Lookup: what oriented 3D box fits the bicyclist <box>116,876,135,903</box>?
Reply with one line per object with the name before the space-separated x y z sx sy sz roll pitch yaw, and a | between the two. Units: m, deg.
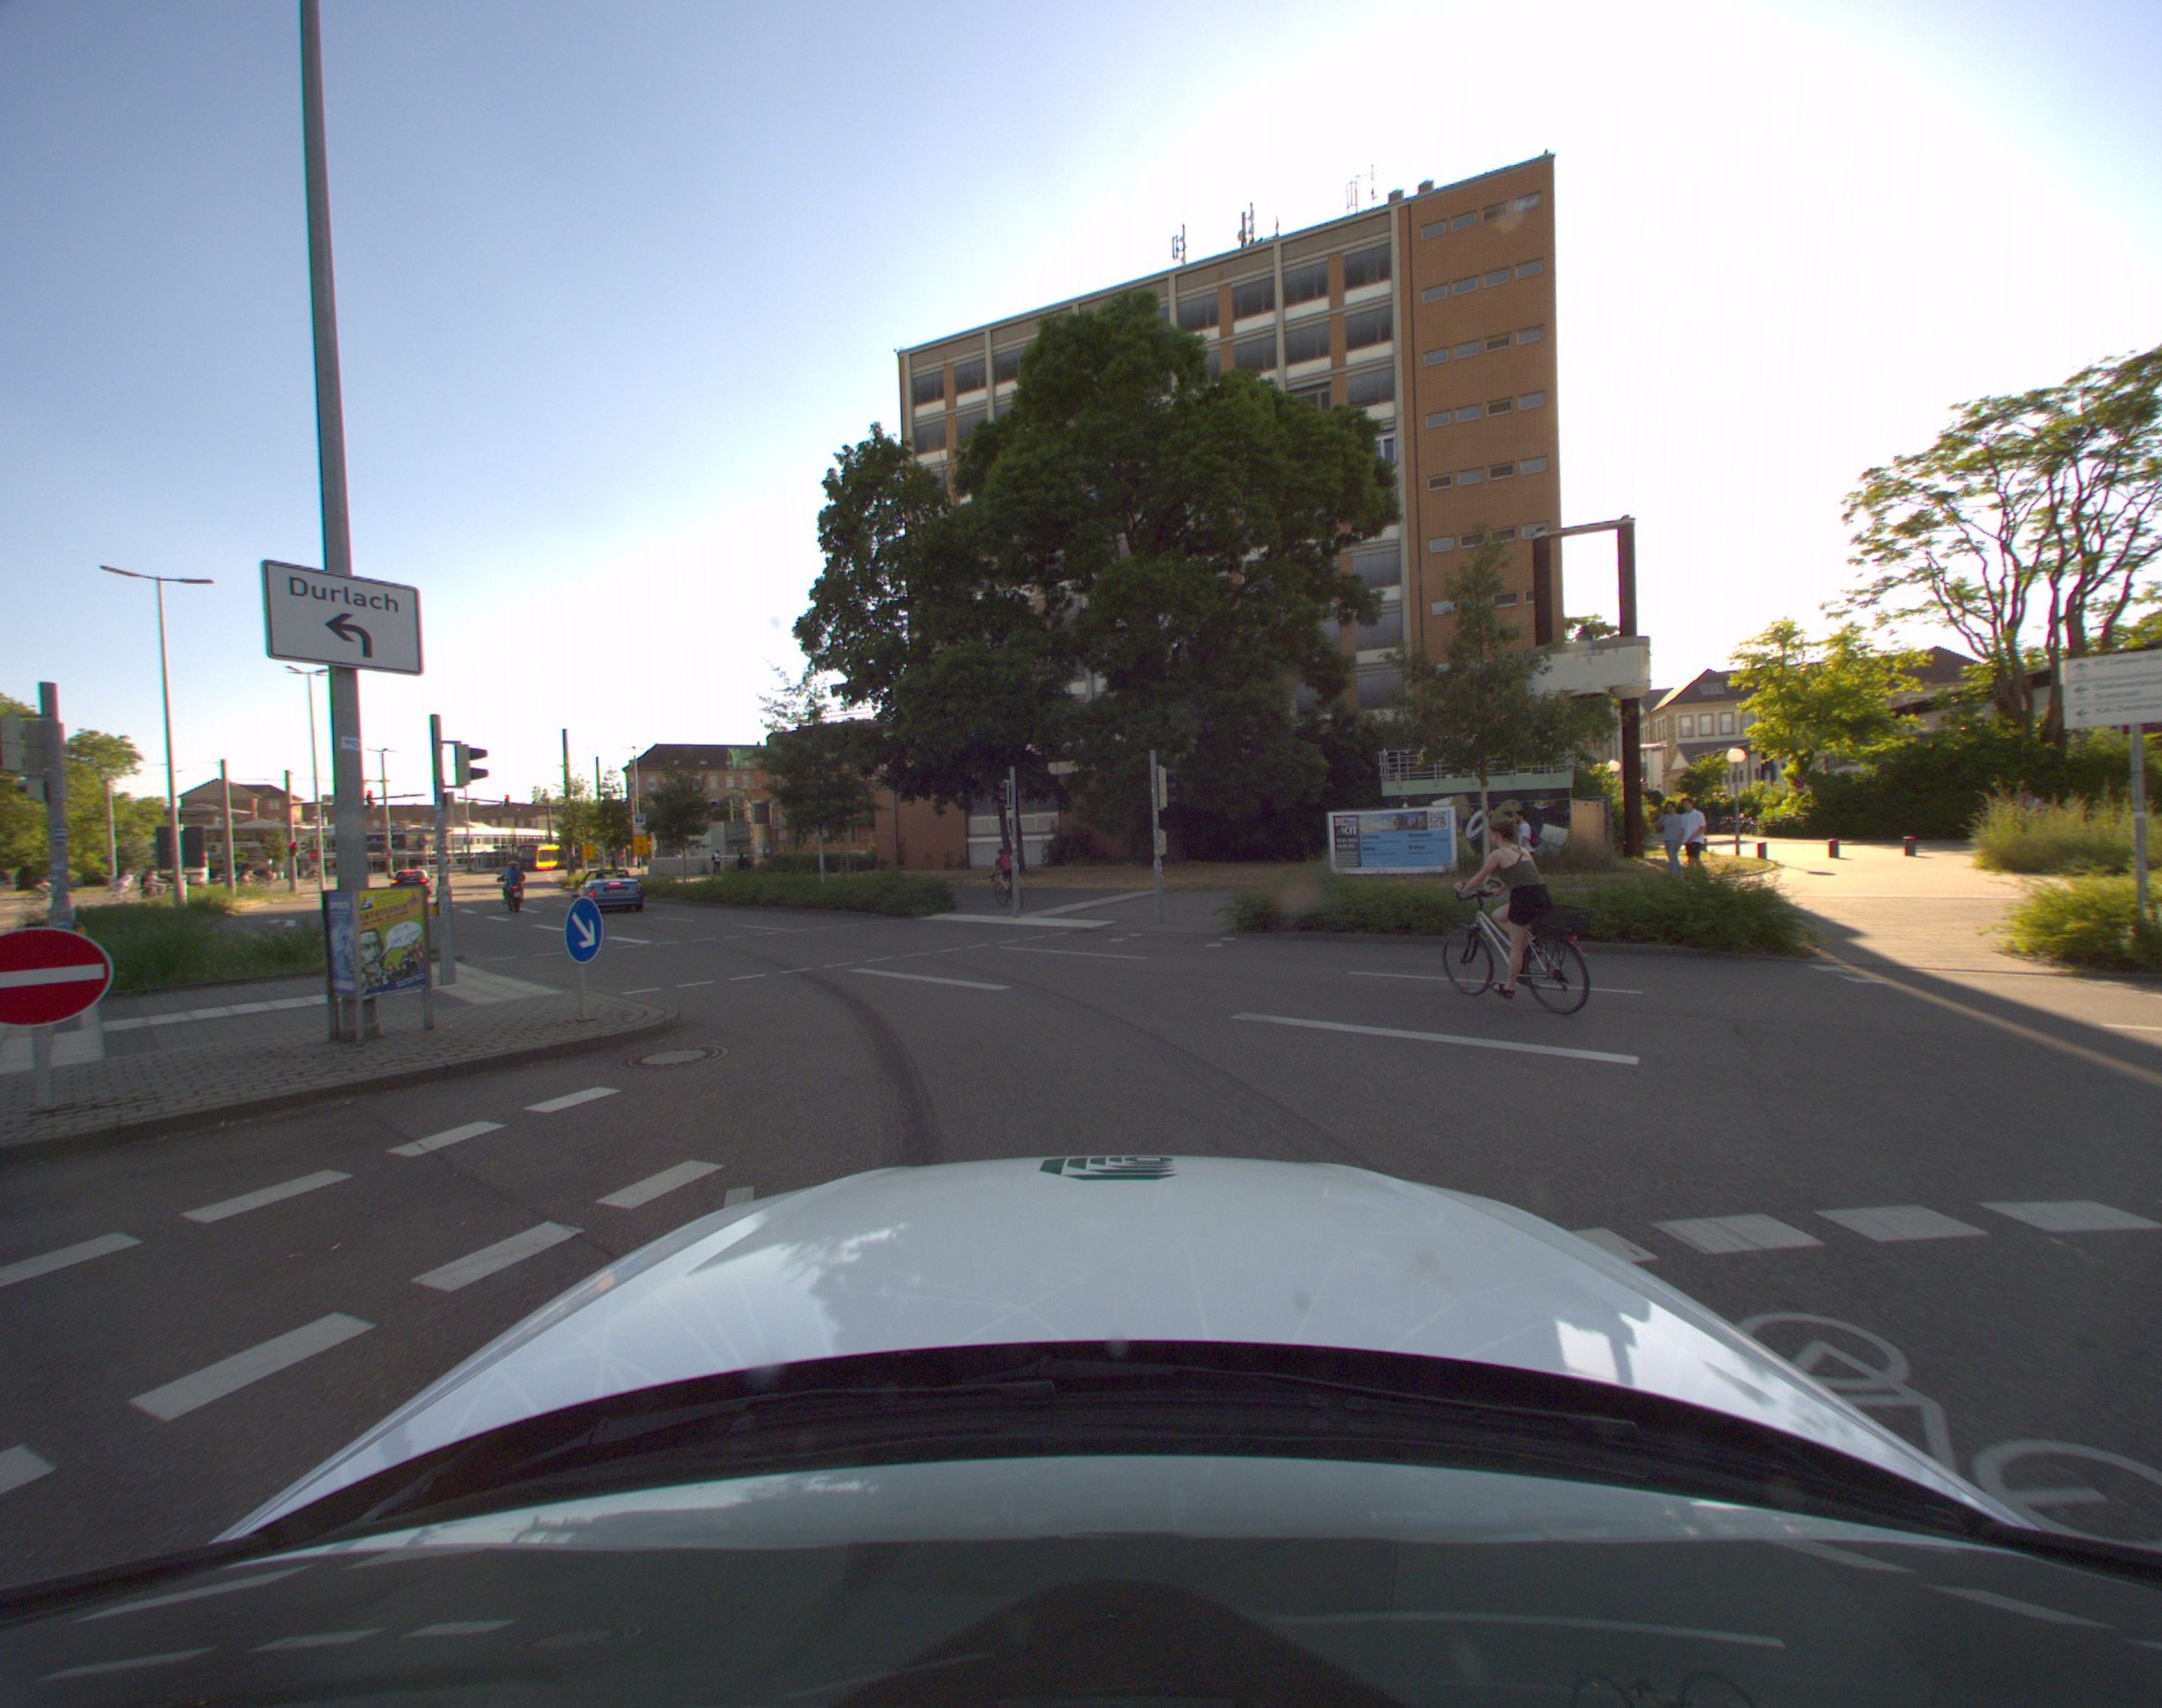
bicyclist | -60.952 2.254 51.937 0.849 1.690 0.655 1 2 35

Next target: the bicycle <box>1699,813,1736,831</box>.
bicycle | 40.816 -2.044 52.255 1.778 1.107 0.503 0 2 26

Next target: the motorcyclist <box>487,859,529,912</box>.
motorcyclist | -19.639 1.066 27.917 1.104 1.721 0.926 -2 0 -36

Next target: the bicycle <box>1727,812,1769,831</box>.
bicycle | 38.682 -1.886 47.256 1.778 1.107 0.503 0 2 26

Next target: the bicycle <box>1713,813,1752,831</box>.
bicycle | 39.955 -1.962 49.949 1.778 1.107 0.503 0 2 26

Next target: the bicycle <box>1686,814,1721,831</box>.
bicycle | 41.804 -2.131 54.699 1.778 1.107 0.503 0 2 26

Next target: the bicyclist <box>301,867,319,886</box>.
bicyclist | -79.125 2.286 83.531 1.108 1.900 1.081 1 2 35

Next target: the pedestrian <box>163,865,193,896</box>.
pedestrian | -51.084 1.510 46.079 0.691 1.671 0.832 -2 1 14

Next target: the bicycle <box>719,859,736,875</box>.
bicycle | -24.895 0.896 57.338 0.627 1.038 1.955 -4 1 -11

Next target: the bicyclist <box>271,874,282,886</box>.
bicyclist | -78.468 2.540 79.428 0.718 1.143 0.828 -2 2 -40

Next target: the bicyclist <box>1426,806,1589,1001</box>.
bicyclist | 4.011 0.421 7.721 0.782 1.677 1.084 -3 1 -24

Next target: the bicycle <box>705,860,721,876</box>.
bicycle | -25.626 0.978 56.647 0.794 1.038 1.944 -5 1 -29

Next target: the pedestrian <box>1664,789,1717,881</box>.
pedestrian | 12.856 -0.401 17.188 0.575 1.869 0.620 -3 1 -12

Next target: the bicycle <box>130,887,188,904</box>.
bicycle | -59.032 2.640 52.170 0.849 0.905 2.318 1 2 34

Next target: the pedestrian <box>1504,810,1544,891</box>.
pedestrian | 9.454 -0.077 17.362 0.622 1.699 0.627 -2 1 35

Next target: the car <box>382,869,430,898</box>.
car | -37.346 1.598 45.125 1.815 1.444 3.934 -1 0 -37

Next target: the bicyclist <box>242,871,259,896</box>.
bicyclist | -56.412 1.996 55.335 0.849 1.690 0.655 1 2 38

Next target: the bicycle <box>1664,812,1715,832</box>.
bicycle | 43.365 -2.254 58.097 2.845 1.381 0.687 0 2 26

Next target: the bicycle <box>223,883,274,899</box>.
bicycle | -56.486 2.480 55.248 0.849 0.905 2.318 1 2 38

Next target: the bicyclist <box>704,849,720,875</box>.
bicyclist | -25.635 0.555 56.591 0.792 1.786 0.885 -5 1 -29

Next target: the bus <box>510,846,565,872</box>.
bus | -68.307 0.551 102.544 2.356 2.882 9.540 -1 2 -12

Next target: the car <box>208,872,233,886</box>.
car | -115.783 3.368 109.617 2.011 1.534 3.952 -2 2 -43

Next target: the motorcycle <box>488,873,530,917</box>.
motorcycle | -19.658 1.377 27.951 1.104 1.377 2.624 -2 0 -36

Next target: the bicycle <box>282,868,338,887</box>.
bicycle | -79.070 2.400 83.563 1.124 1.689 4.026 1 2 35

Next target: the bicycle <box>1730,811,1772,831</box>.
bicycle | 38.283 -1.885 46.547 1.778 1.107 0.503 0 2 26

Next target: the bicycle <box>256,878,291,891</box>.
bicycle | -78.637 2.954 79.301 2.316 0.959 0.850 -4 5 -40

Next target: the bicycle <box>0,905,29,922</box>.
bicycle | -62.760 3.473 46.932 0.849 0.874 2.517 0 2 32

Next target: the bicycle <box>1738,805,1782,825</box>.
bicycle | 37.521 -2.158 45.019 1.778 1.107 0.503 0 2 26

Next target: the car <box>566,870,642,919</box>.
car | -15.979 1.288 27.192 1.815 1.444 3.934 -1 0 -36

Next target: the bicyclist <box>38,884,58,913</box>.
bicyclist | -62.920 2.703 49.601 0.849 1.690 0.655 1 2 41

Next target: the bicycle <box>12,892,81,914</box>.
bicycle | -62.931 2.952 49.586 0.849 1.133 2.517 1 2 41

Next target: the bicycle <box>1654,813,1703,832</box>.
bicycle | 44.567 -2.350 60.764 2.845 1.381 0.687 0 2 26

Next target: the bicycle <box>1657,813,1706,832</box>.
bicycle | 44.202 -2.321 59.970 2.845 1.381 0.687 0 2 26

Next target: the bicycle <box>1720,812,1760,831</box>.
bicycle | 39.344 -1.914 48.613 1.778 1.107 0.503 0 2 26

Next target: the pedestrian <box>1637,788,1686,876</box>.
pedestrian | 12.706 -0.474 17.833 0.575 1.869 0.620 -3 1 -12

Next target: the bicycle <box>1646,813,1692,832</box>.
bicycle | 46.094 -2.463 63.858 2.845 1.381 0.687 0 2 26

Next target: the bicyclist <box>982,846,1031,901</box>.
bicyclist | -1.966 0.518 21.336 0.726 1.384 1.062 -2 -1 -44

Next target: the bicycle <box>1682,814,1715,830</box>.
bicycle | 42.750 -2.194 56.401 1.778 1.107 0.503 0 2 26

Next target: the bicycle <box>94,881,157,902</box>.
bicycle | -60.926 2.368 51.966 0.849 1.133 2.517 1 2 35

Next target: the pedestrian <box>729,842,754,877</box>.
pedestrian | -16.735 0.272 40.171 0.780 1.658 0.813 -1 2 43

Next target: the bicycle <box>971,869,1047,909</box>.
bicycle | -1.922 0.918 21.305 0.726 0.952 2.221 -2 -1 -44

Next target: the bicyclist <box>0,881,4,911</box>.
bicyclist | -62.769 2.418 46.927 0.849 1.690 0.752 0 2 32

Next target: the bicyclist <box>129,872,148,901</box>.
bicyclist | -59.517 2.026 51.429 0.856 1.777 0.588 -2 1 32

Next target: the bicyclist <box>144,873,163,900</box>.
bicyclist | -59.180 2.052 51.965 0.849 1.690 0.655 0 2 34

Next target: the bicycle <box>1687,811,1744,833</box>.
bicycle | 41.186 -2.069 52.936 2.845 1.381 0.687 0 2 26

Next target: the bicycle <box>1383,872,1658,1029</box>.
bicycle | 4.026 0.799 7.728 0.782 1.156 2.273 -3 2 -24

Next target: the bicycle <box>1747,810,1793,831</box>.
bicycle | 36.617 -1.786 43.305 1.778 1.107 0.503 0 2 26

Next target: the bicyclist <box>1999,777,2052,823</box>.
bicyclist | 30.317 -1.727 26.142 0.908 1.434 0.625 0 2 13
